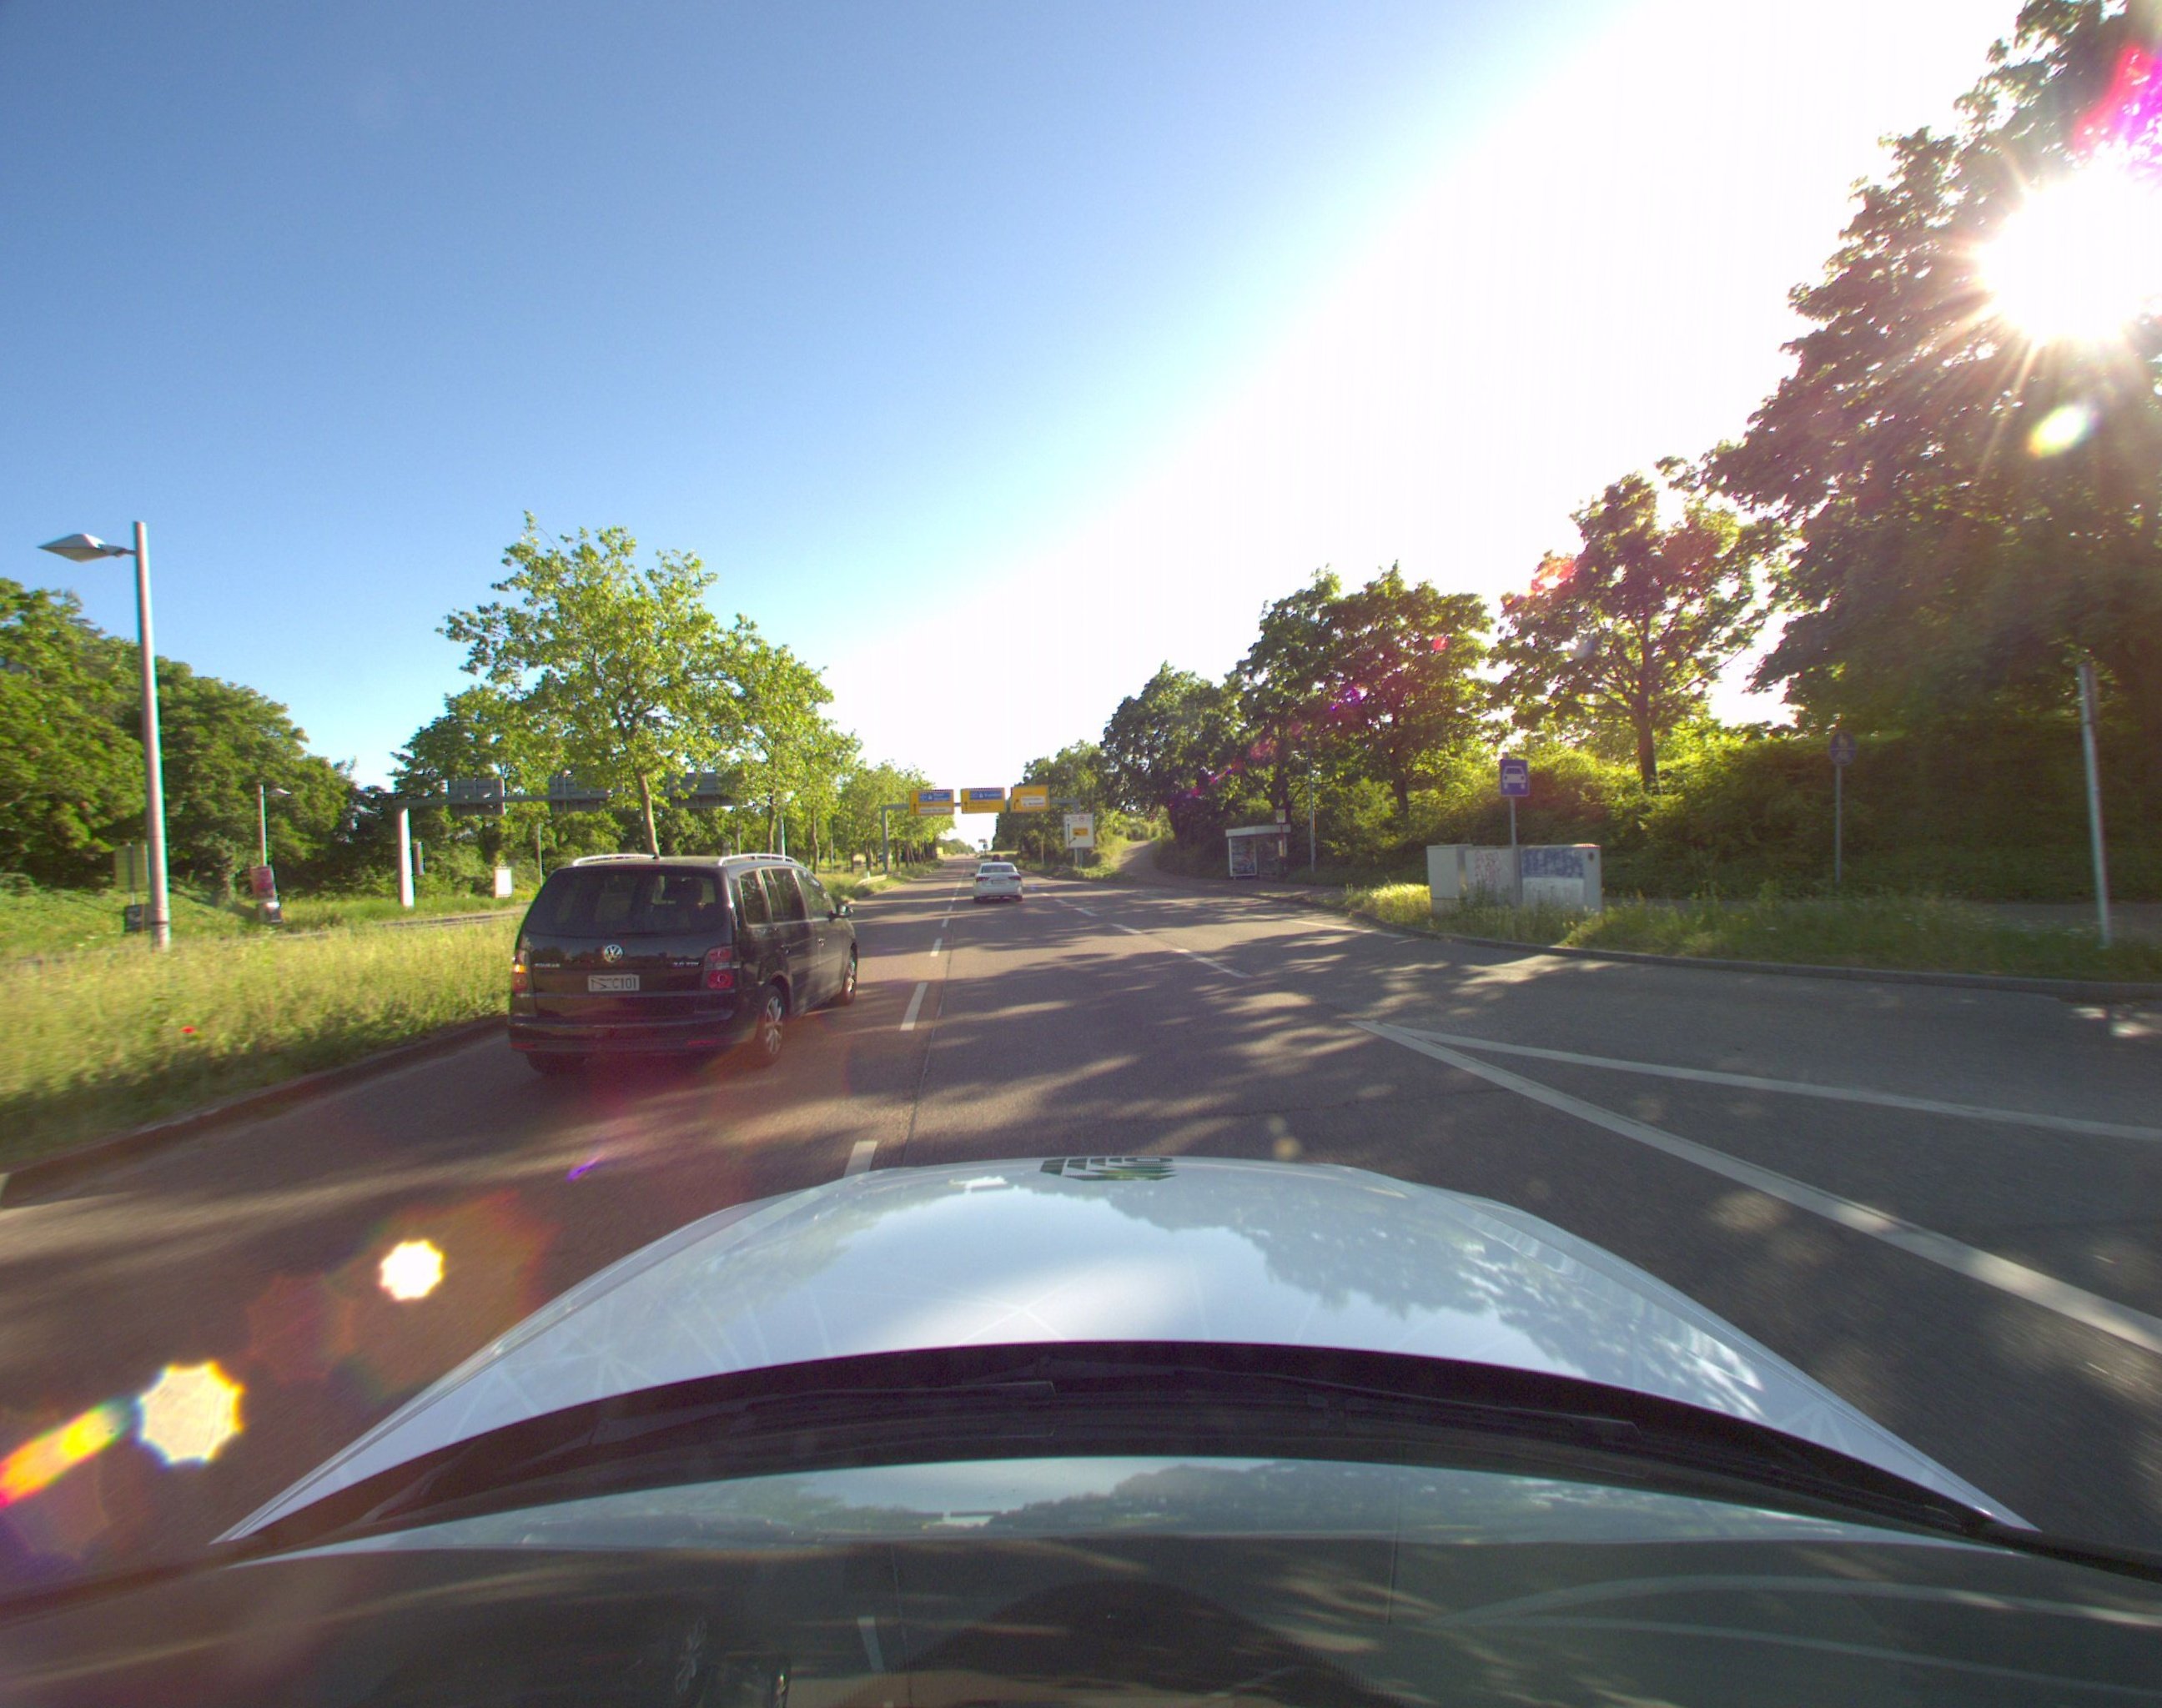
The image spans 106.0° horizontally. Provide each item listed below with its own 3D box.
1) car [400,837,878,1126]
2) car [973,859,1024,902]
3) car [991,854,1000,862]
[{"bbox_3d":[-3.251,0.754,7.344,1.764,1.644,4.918,-2,0,-3],"label":"car"},{"bbox_3d":[-3.164,0.958,31.198,1.766,1.464,4.356,-2,0,-6],"label":"car"},{"bbox_3d":[-16.746,0.725,159.205,1.766,1.464,4.356,-2,0,-6],"label":"car"}]
